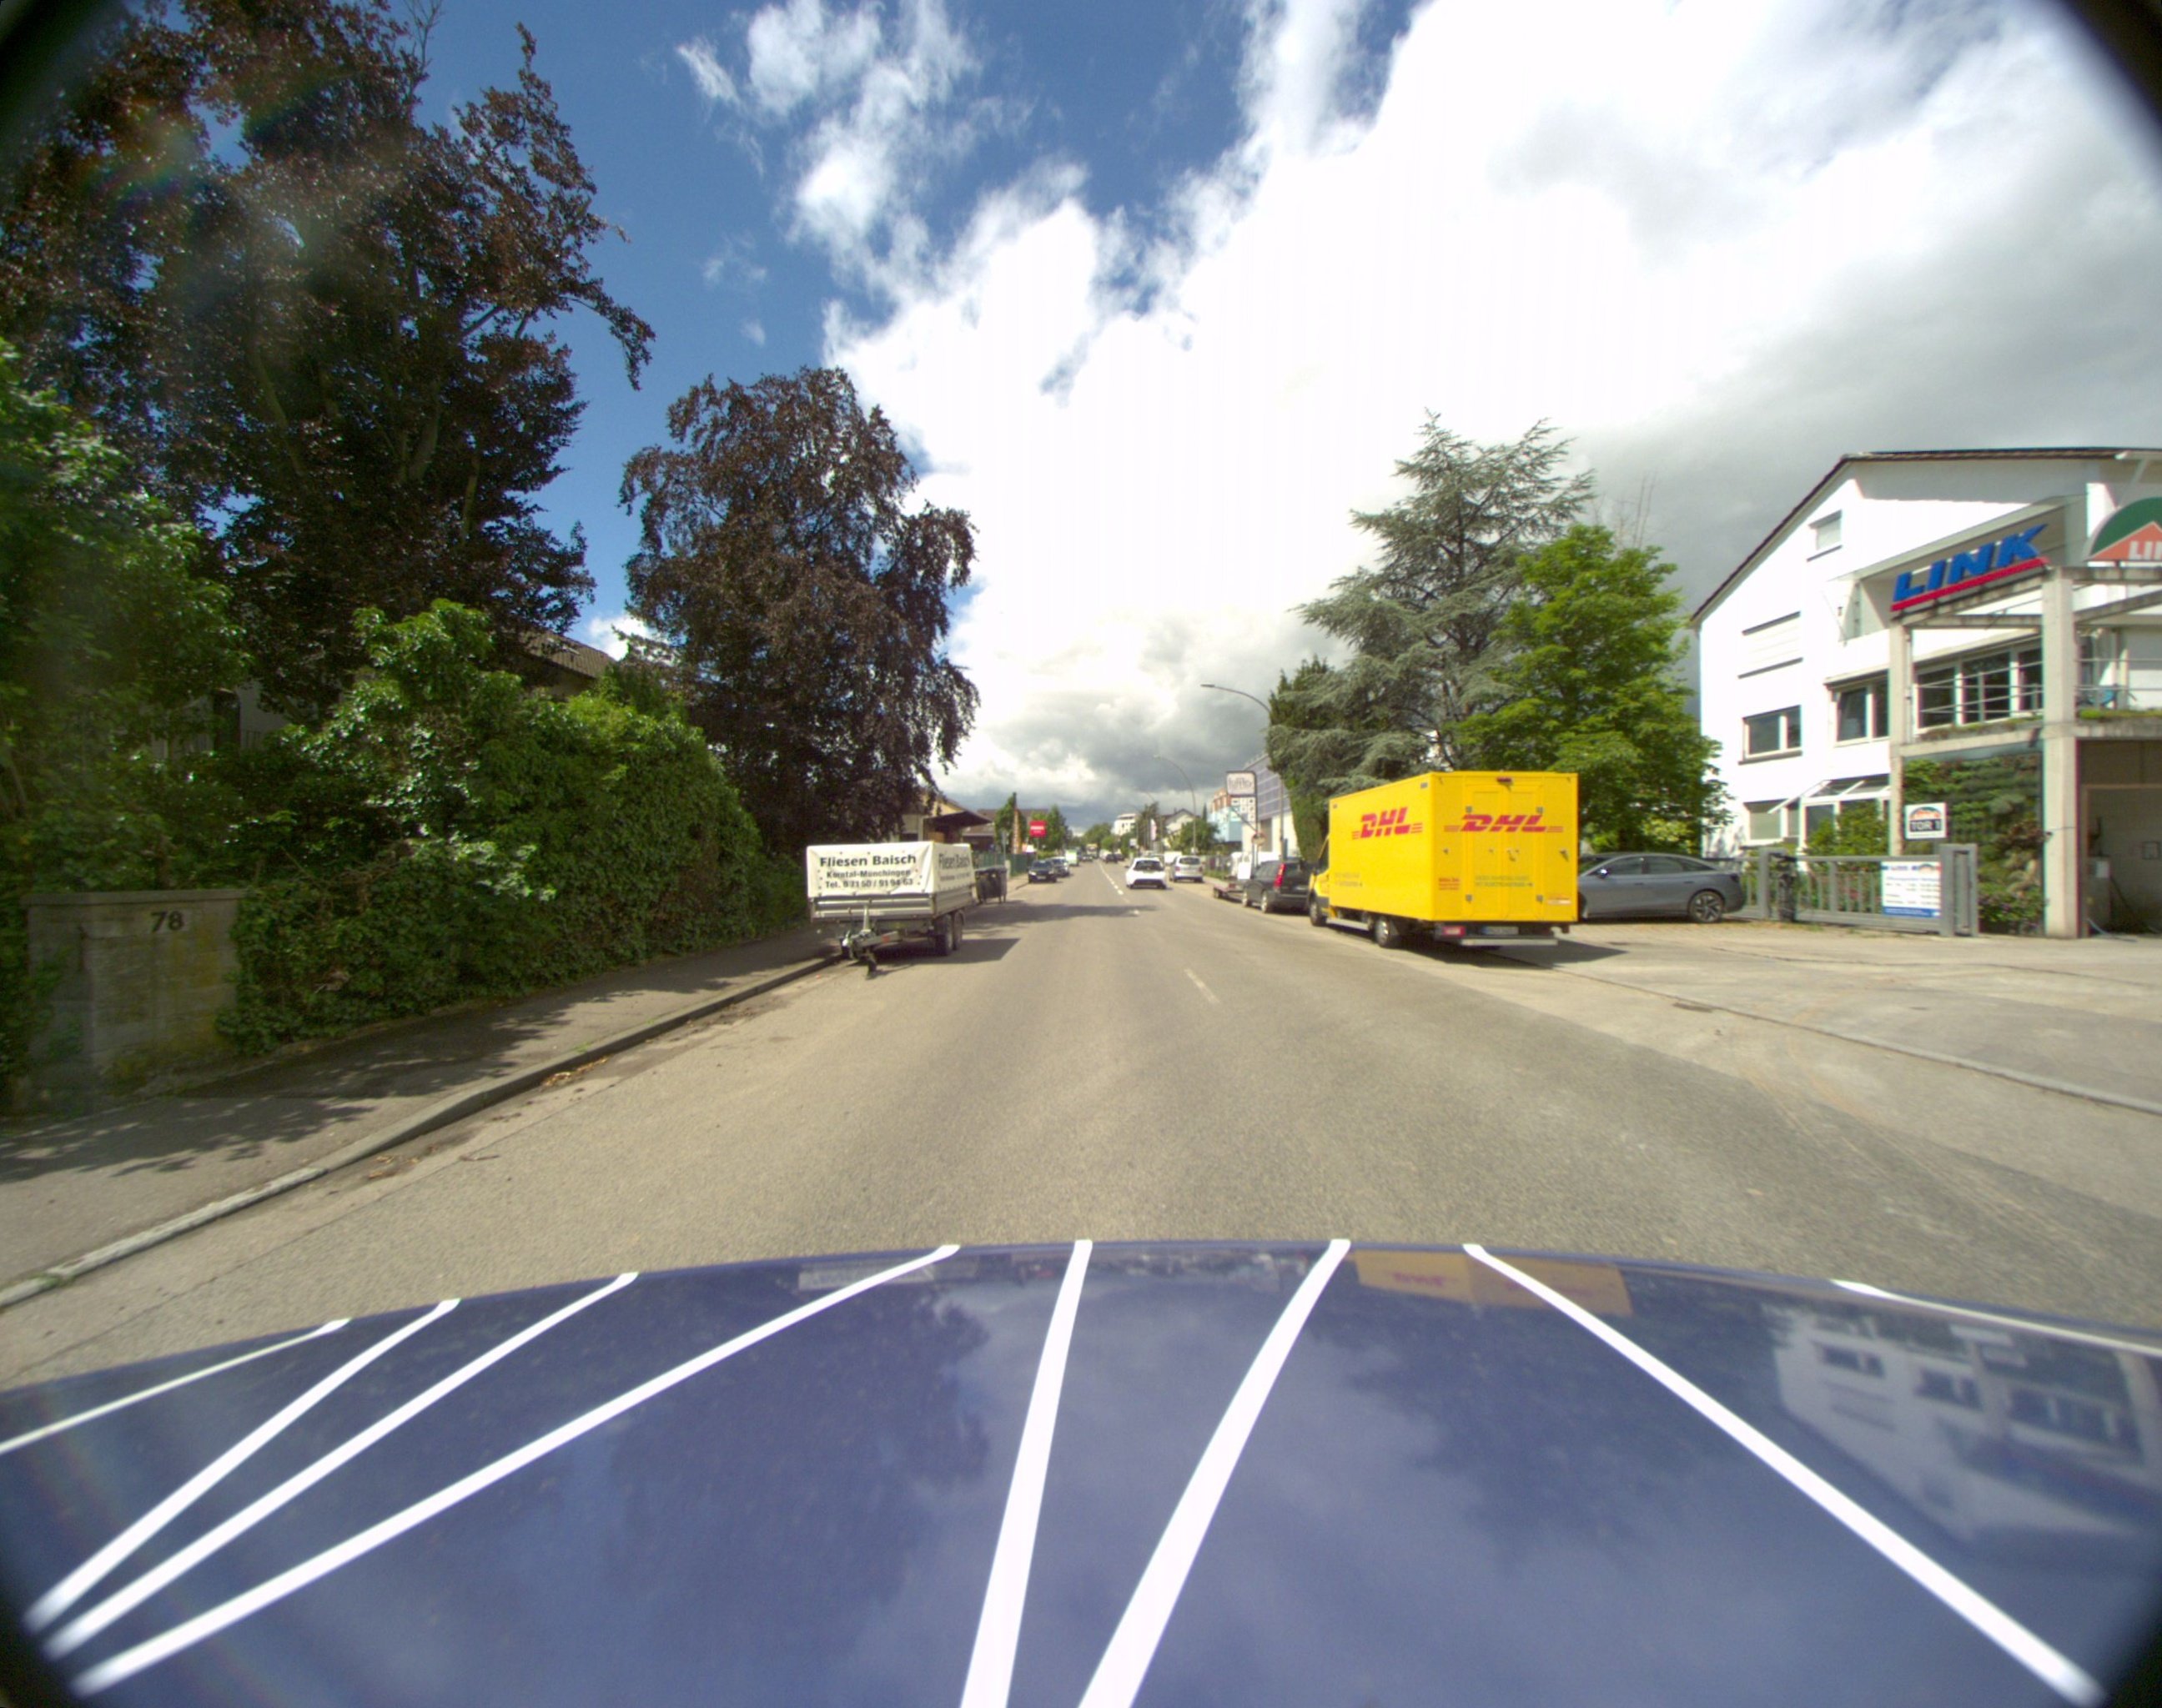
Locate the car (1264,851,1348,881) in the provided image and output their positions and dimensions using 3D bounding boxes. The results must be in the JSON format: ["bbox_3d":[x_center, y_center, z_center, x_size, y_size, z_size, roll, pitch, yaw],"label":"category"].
[{"bbox_3d":[12.697,0.644,43.025,4.169,1.660,1.999,0,1,-2],"label":"car"}]

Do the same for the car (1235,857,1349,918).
[{"bbox_3d":[5.945,0.873,22.090,1.998,1.445,4.812,3,0,1],"label":"car"}]

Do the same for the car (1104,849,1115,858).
[{"bbox_3d":[5.577,-0.121,149.896,1.999,1.852,3.835,0,0,-1],"label":"car"}]

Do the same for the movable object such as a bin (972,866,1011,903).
[{"bbox_3d":[-3.195,1.073,27.171,1.115,1.283,1.358,0,1,5],"label":"movable object such as a bin"}]

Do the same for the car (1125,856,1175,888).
[{"bbox_3d":[3.276,0.832,36.915,1.987,1.412,3.999,0,0,-1],"label":"car"}]

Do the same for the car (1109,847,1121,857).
[{"bbox_3d":[5.777,-0.298,128.736,1.859,1.686,4.001,0,0,4],"label":"car"}]

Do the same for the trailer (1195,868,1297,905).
[{"bbox_3d":[5.912,1.121,28.409,2.324,0.985,7.459,1,0,1],"label":"trailer"}]

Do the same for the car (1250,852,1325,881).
[{"bbox_3d":[12.544,0.742,46.332,3.998,1.660,2.103,0,0,-2],"label":"car"}]

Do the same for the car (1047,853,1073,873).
[{"bbox_3d":[-1.740,0.738,64.649,1.835,1.608,4.000,-3,0,2],"label":"car"}]

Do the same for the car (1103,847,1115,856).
[{"bbox_3d":[6.533,-0.582,177.031,2.384,2.002,6.384,0,0,0],"label":"car"}]

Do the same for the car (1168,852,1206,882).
[{"bbox_3d":[6.405,0.737,46.260,1.809,1.666,4.127,2,0,1],"label":"car"}]

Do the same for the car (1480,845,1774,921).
[{"bbox_3d":[11.764,0.580,16.632,5.021,1.543,1.972,0,1,-1],"label":"car"}]

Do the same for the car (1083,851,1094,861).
[{"bbox_3d":[1.457,0.291,141.988,1.998,1.802,4.000,-1,0,1],"label":"car"}]

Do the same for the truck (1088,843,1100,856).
[{"bbox_3d":[3.253,-1.220,193.672,2.880,3.290,8.607,-2,1,1],"label":"truck"}]

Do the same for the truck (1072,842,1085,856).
[{"bbox_3d":[-0.451,-1.041,157.981,2.410,2.722,6.640,-2,1,1],"label":"truck"}]

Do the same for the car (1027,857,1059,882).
[{"bbox_3d":[-2.341,0.932,48.026,1.759,1.455,4.000,-1,0,1],"label":"car"}]

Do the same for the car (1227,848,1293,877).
[{"bbox_3d":[12.164,0.557,51.823,3.996,1.866,2.000,0,1,1],"label":"car"}]

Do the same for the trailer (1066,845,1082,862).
[{"bbox_3d":[-1.014,-0.082,106.365,2.044,2.214,5.079,0,0,1],"label":"trailer"}]

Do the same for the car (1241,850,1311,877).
[{"bbox_3d":[12.584,0.576,49.105,3.997,1.660,2.000,0,0,0],"label":"car"}]

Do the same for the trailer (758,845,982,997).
[{"bbox_3d":[-2.928,0.826,11.802,1.998,1.812,4.764,-2,0,1],"label":"trailer"}]

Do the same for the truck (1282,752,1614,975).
[{"bbox_3d":[6.087,0.119,14.373,2.329,2.986,7.817,2,0,0],"label":"truck"}]

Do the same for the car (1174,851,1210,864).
[{"bbox_3d":[13.518,0.442,92.728,4.046,1.485,1.675,0,0,0],"label":"car"}]

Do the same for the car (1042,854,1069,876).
[{"bbox_3d":[-1.967,0.801,59.861,1.811,1.566,4.188,-3,0,1],"label":"car"}]
